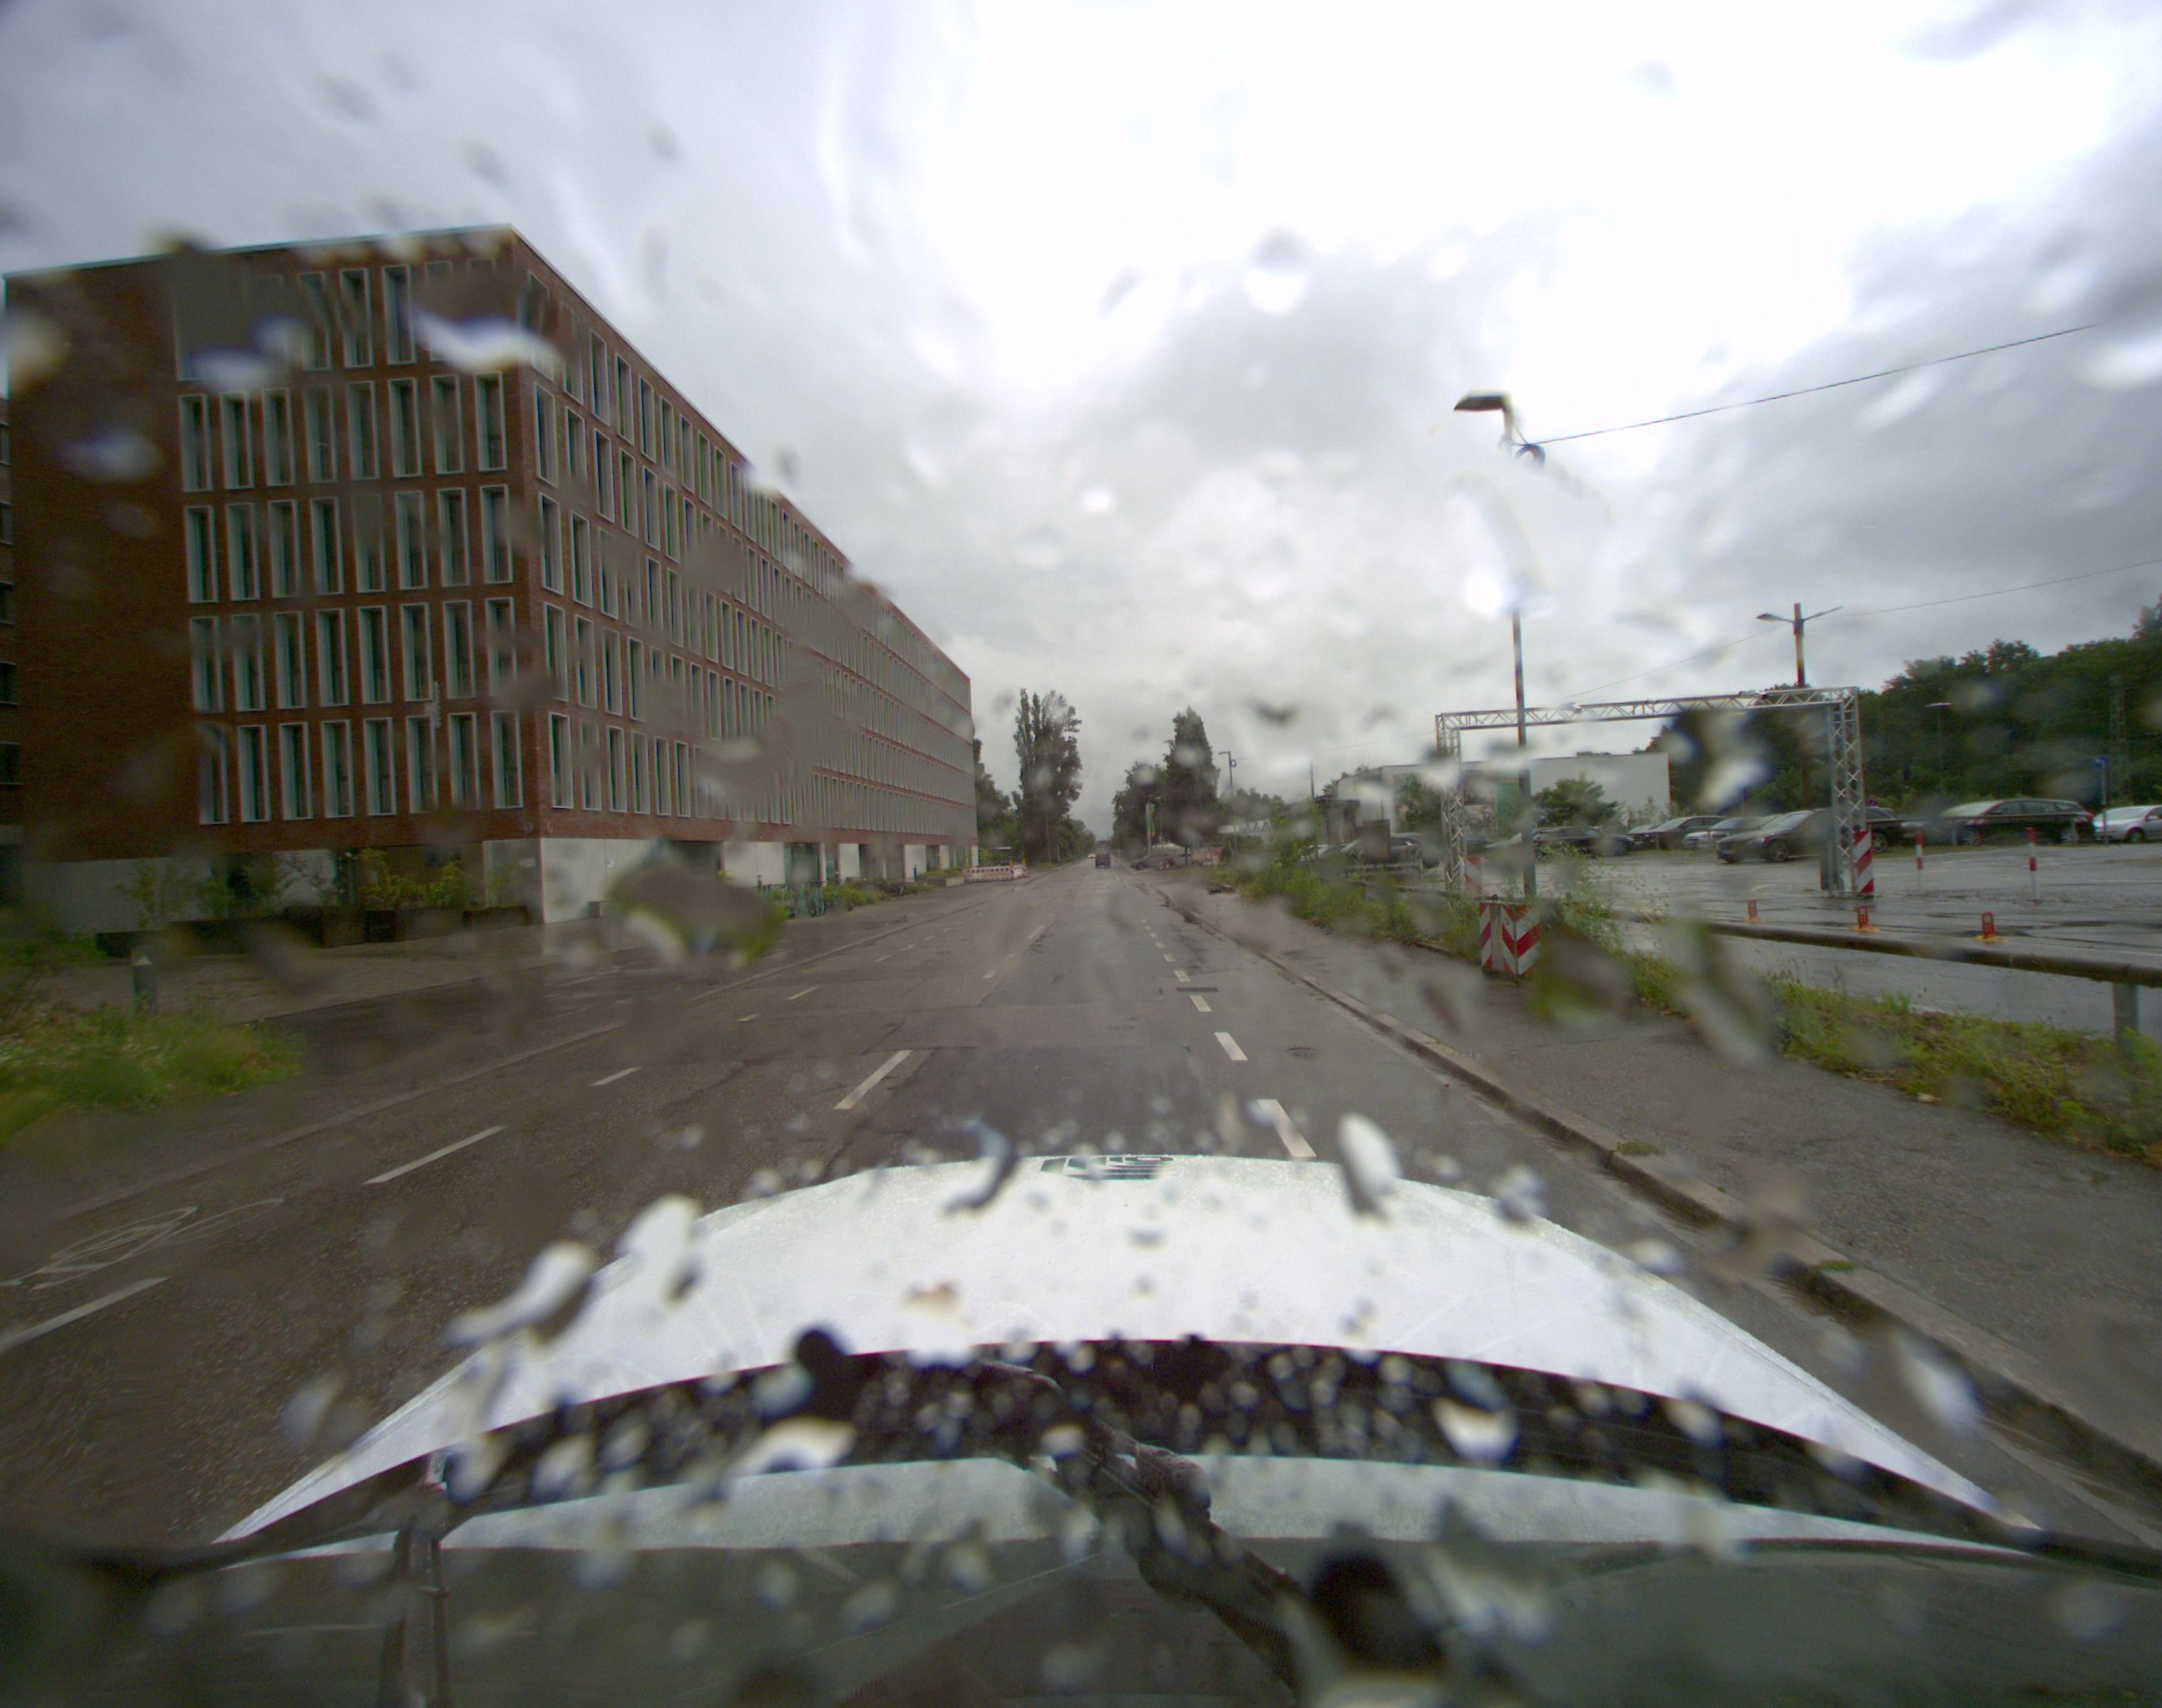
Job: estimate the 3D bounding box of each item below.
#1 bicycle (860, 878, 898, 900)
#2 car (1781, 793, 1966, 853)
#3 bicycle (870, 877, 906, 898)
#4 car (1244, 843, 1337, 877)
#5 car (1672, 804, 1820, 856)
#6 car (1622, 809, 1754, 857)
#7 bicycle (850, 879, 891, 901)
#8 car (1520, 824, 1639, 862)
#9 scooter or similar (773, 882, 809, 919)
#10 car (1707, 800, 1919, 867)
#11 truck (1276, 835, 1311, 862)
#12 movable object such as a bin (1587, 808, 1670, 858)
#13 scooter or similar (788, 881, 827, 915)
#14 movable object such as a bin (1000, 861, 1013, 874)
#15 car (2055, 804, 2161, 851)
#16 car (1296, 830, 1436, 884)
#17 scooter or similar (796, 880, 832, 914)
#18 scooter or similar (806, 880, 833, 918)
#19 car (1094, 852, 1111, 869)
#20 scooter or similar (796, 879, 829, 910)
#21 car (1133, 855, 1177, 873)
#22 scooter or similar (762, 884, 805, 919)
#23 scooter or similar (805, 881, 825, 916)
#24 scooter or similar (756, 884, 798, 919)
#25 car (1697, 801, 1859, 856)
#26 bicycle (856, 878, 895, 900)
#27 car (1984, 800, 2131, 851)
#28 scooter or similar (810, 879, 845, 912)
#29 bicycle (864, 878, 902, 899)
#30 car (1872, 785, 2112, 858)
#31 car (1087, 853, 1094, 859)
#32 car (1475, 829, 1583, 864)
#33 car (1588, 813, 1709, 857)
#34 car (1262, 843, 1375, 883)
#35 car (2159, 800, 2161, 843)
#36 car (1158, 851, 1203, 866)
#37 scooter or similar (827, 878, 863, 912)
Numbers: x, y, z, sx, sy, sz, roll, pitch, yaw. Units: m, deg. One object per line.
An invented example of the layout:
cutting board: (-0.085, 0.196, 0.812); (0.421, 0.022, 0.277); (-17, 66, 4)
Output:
bicycle: (-10.698, 1.843, 43.143); (1.853, 1.077, 0.544); (-1, -1, 0)
car: (28.047, -1.056, 28.949); (4.426, 1.605, 2.044); (-5, -2, 1)
bicycle: (-10.635, 1.833, 44.888); (1.853, 1.077, 0.544); (-1, -1, 0)
car: (10.510, 0.340, 41.049); (4.165, 1.510, 1.891); (-2, -2, 2)
car: (27.858, -0.982, 34.237); (4.426, 1.672, 2.044); (-5, -2, 1)
car: (27.589, -0.935, 37.128); (4.429, 1.672, 2.042); (-5, -2, -2)
bicycle: (-10.731, 1.826, 41.541); (1.942, 1.077, 0.620); (-1, -1, 0)
car: (21.959, -0.460, 36.000); (3.971, 1.485, 2.001); (-2, -2, 2)
scooter or similar: (-10.113, 1.612, 28.365); (1.304, 1.230, 0.511); (-4, 0, 40)
car: (21.718, -0.576, 24.281); (4.611, 1.716, 2.016); (-2, -2, -4)
truck: (23.139, -0.643, 88.798); (2.290, 2.659, 7.426); (-4, 0, 5)
movable object such as a bin: (35.414, -1.334, 52.747); (3.973, 2.992, 2.000); (-3, 0, 1)
scooter or similar: (-10.471, 1.675, 31.218); (1.317, 1.177, 0.466); (-4, 0, -11)
movable object such as a bin: (-7.693, 1.390, 84.287); (1.293, 1.308, 1.446); (-3, 0, -5)
car: (38.259, -0.992, 29.627); (3.984, 1.493, 1.709); (-3, 0, -8)
car: (10.867, 0.140, 31.411); (4.658, 1.735, 2.131); (-4, -2, 6)
scooter or similar: (-10.504, 1.672, 32.080); (0.461, 1.230, 1.215); (-4, 0, 44)
scooter or similar: (-9.314, 1.593, 29.012); (0.464, 1.230, 1.320); (-4, 0, -1)
car: (2.581, 0.774, 98.284); (1.987, 1.910, 4.201); (-4, -1, 1)
scooter or similar: (-11.485, 1.734, 34.800); (1.219, 1.208, 0.418); (-4, 0, 8)
car: (7.343, 1.000, 81.020); (4.129, 1.569, 1.762); (-3, -1, -5)
scooter or similar: (-10.735, 1.714, 29.382); (1.309, 1.177, 0.468); (-4, 0, 7)
scooter or similar: (-9.888, 1.644, 30.274); (0.468, 1.230, 1.309); (-4, 0, -27)
scooter or similar: (-11.168, 1.734, 29.907); (1.309, 1.177, 0.468); (-4, 0, 7)
car: (27.121, -0.961, 31.810); (4.426, 1.605, 2.044); (-5, -2, 1)
bicycle: (-10.719, 1.836, 42.556); (1.853, 1.077, 0.544); (-1, -1, 0)
car: (38.700, -1.107, 32.317); (3.985, 1.728, 1.893); (-3, 0, -8)
scooter or similar: (-10.241, 1.674, 32.908); (0.461, 1.208, 1.215); (-4, 0, 44)
bicycle: (-10.698, 1.846, 44.021); (1.853, 1.077, 0.544); (-1, -1, 0)
car: (26.920, -0.920, 24.201); (4.686, 1.605, 2.044); (-5, -2, 1)
car: (2.905, 0.658, 240.673); (1.726, 1.450, 4.384); (-6, 0, 2)
car: (21.089, -0.342, 38.472); (3.971, 1.409, 2.001); (-2, -2, 2)
car: (27.698, -0.895, 39.842); (4.429, 1.672, 2.042); (-5, -2, -2)
car: (10.140, 0.398, 35.017); (4.279, 1.517, 1.820); (-2, -2, 2)
car: (38.354, -1.130, 26.750); (3.984, 1.636, 1.786); (-3, 0, -8)
car: (10.721, 0.459, 88.018); (4.688, 1.462, 1.890); (-2, 0, 0)
scooter or similar: (-9.133, 1.584, 31.507); (1.304, 1.230, 0.470); (-4, 0, 31)
